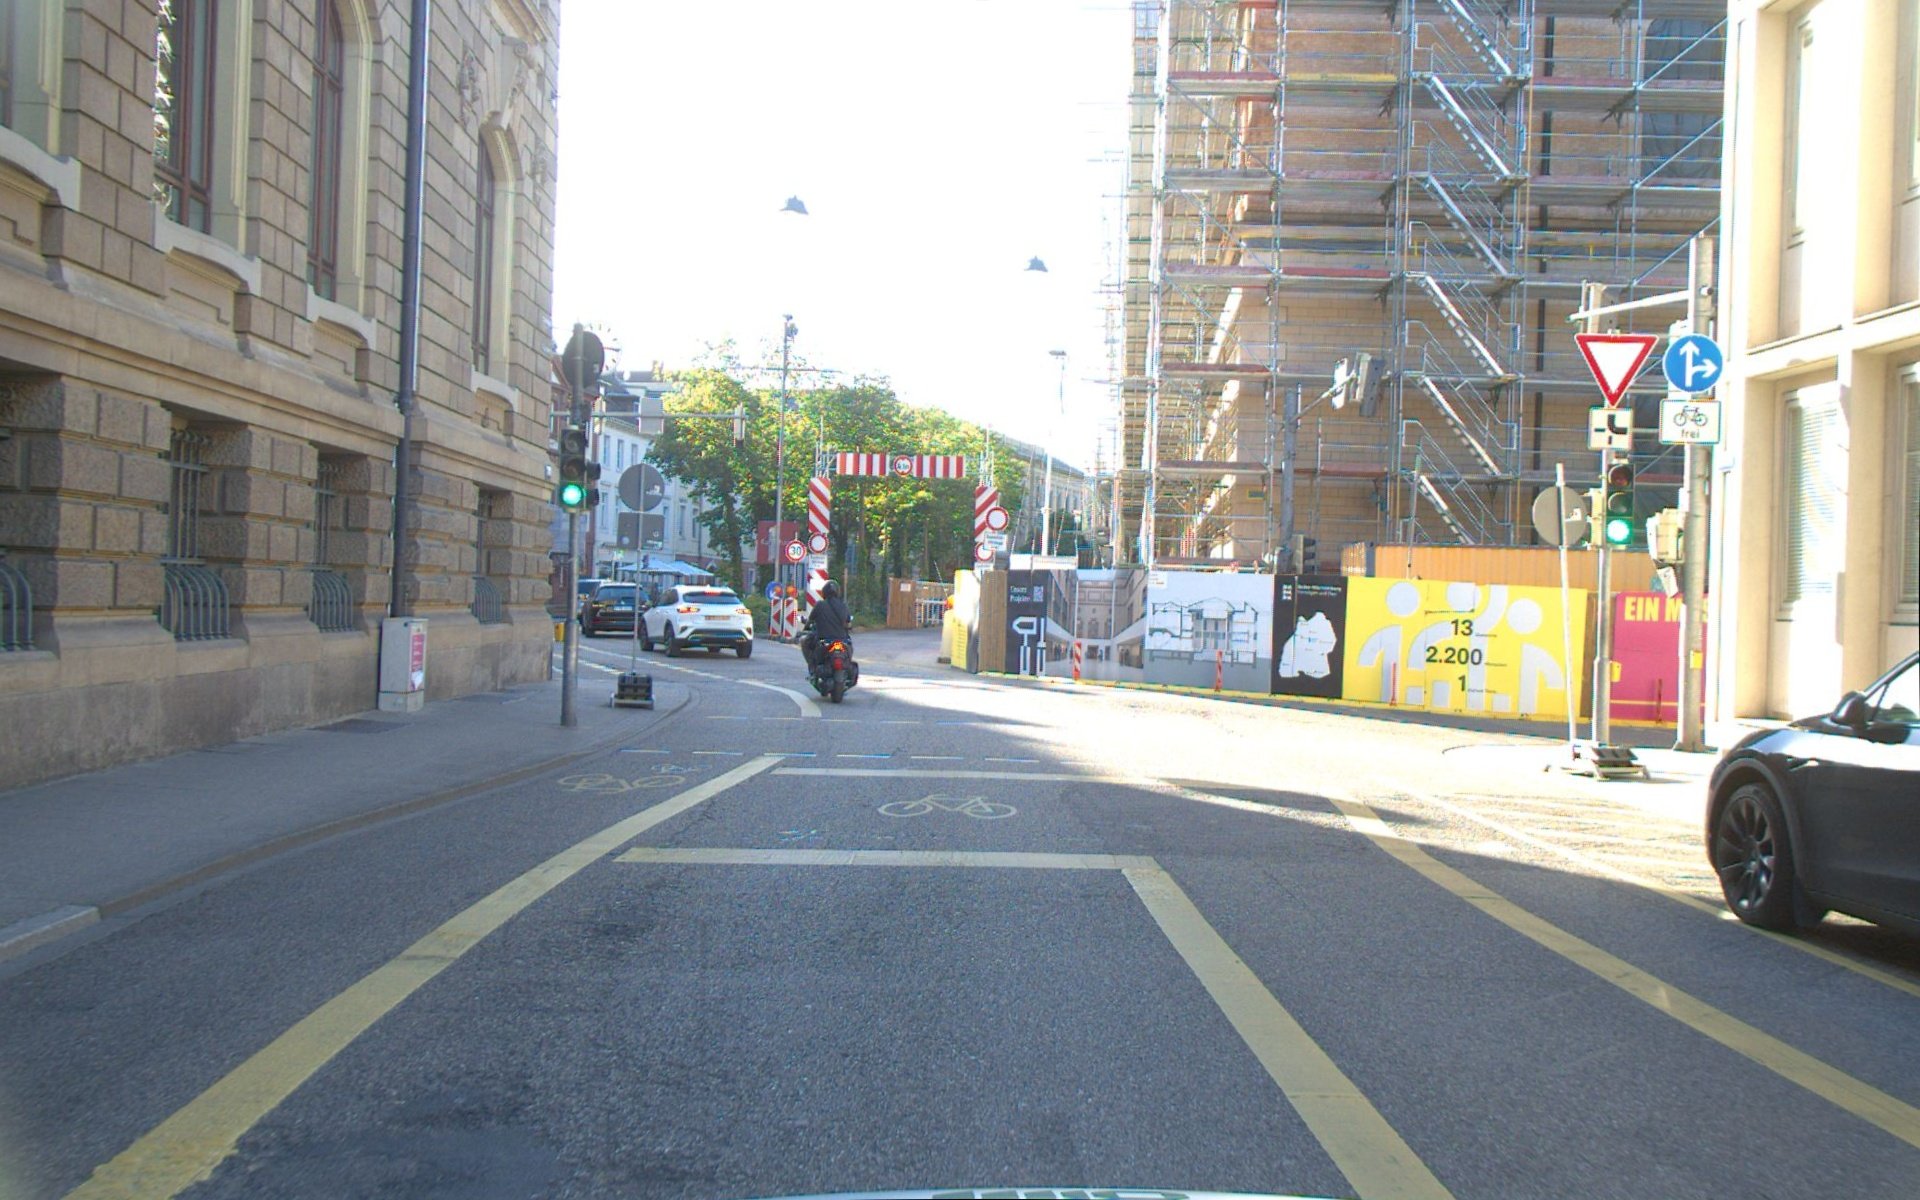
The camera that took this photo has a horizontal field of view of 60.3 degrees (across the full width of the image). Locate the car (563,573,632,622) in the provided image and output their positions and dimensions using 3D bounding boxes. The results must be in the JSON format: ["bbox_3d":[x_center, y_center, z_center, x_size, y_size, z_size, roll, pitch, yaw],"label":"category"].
[{"bbox_3d":[-13.844,-0.115,63.342,1.803,1.743,4.056,2,0,-2],"label":"car"}]

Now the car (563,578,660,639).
[{"bbox_3d":[-9.396,0.212,44.396,1.815,1.489,4.029,2,0,-23],"label":"car"}]

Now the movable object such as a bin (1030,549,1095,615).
[{"bbox_3d":[7.505,-1.239,120.145,3.237,4.619,7.911,0,0,15],"label":"movable object such as a bin"}]

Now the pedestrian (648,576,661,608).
[{"bbox_3d":[-16.963,-0.444,91.881,0.428,1.806,0.597,1,0,19],"label":"pedestrian"}]

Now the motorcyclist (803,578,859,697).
[{"bbox_3d":[-1.866,0.532,23.912,0.646,1.679,0.648,2,0,-14],"label":"motorcyclist"}]

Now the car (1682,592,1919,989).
[{"bbox_3d":[4.944,0.826,6.737,1.856,1.652,4.620,2,0,-1],"label":"car"}]

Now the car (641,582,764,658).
[{"bbox_3d":[-5.718,0.401,36.326,1.824,1.506,4.032,2,0,-21],"label":"car"}]

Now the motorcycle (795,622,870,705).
[{"bbox_3d":[-1.843,0.892,23.715,0.783,1.085,1.719,2,0,-14],"label":"motorcycle"}]
